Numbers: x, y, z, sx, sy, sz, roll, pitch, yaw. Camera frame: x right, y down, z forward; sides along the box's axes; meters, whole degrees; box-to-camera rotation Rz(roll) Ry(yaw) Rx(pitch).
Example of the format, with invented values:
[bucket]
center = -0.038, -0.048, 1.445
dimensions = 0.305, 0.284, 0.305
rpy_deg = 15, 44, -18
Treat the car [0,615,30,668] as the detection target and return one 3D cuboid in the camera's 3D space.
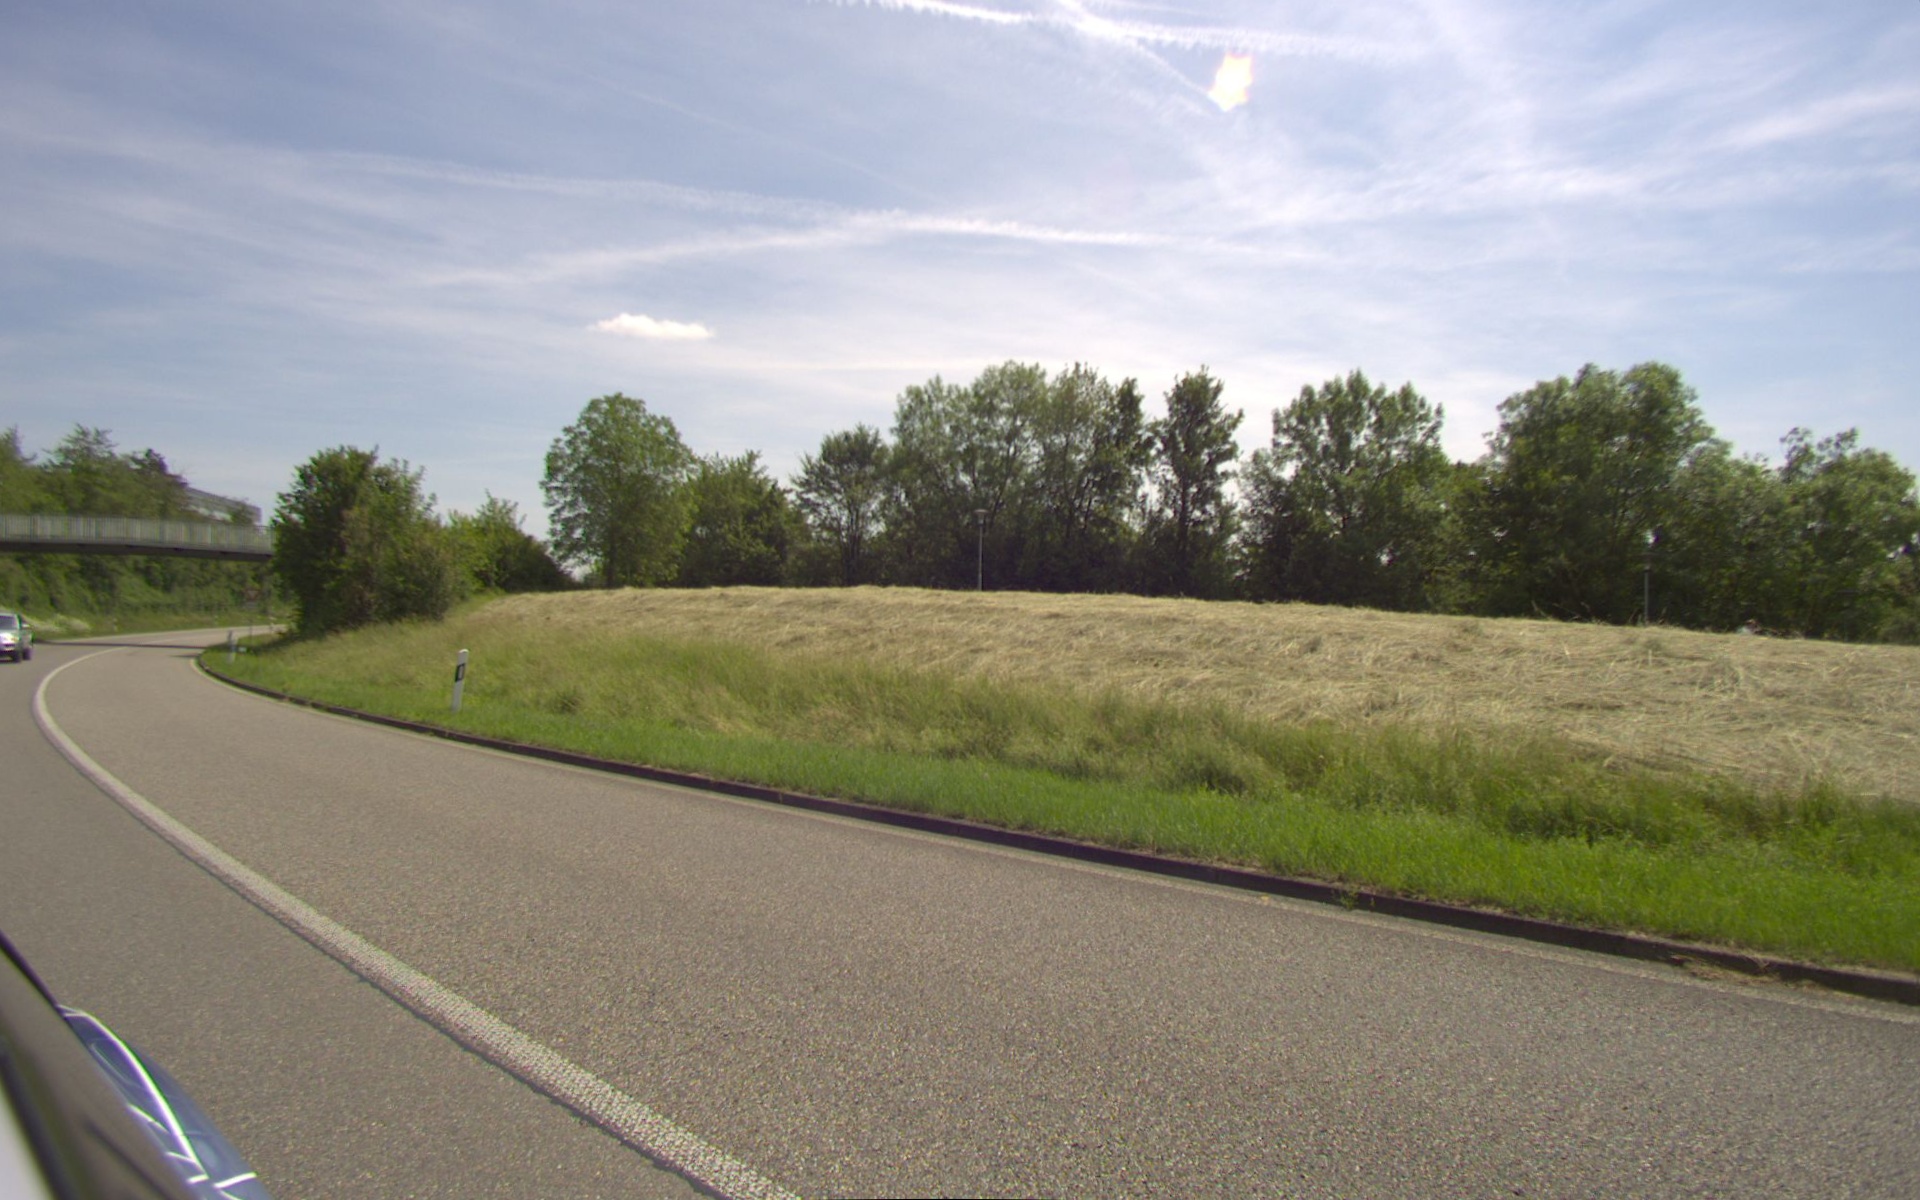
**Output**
[car]
center = -32.912, 1.355, 34.030
dimensions = 1.819, 1.721, 4.099
rpy_deg = 2, -2, -35
